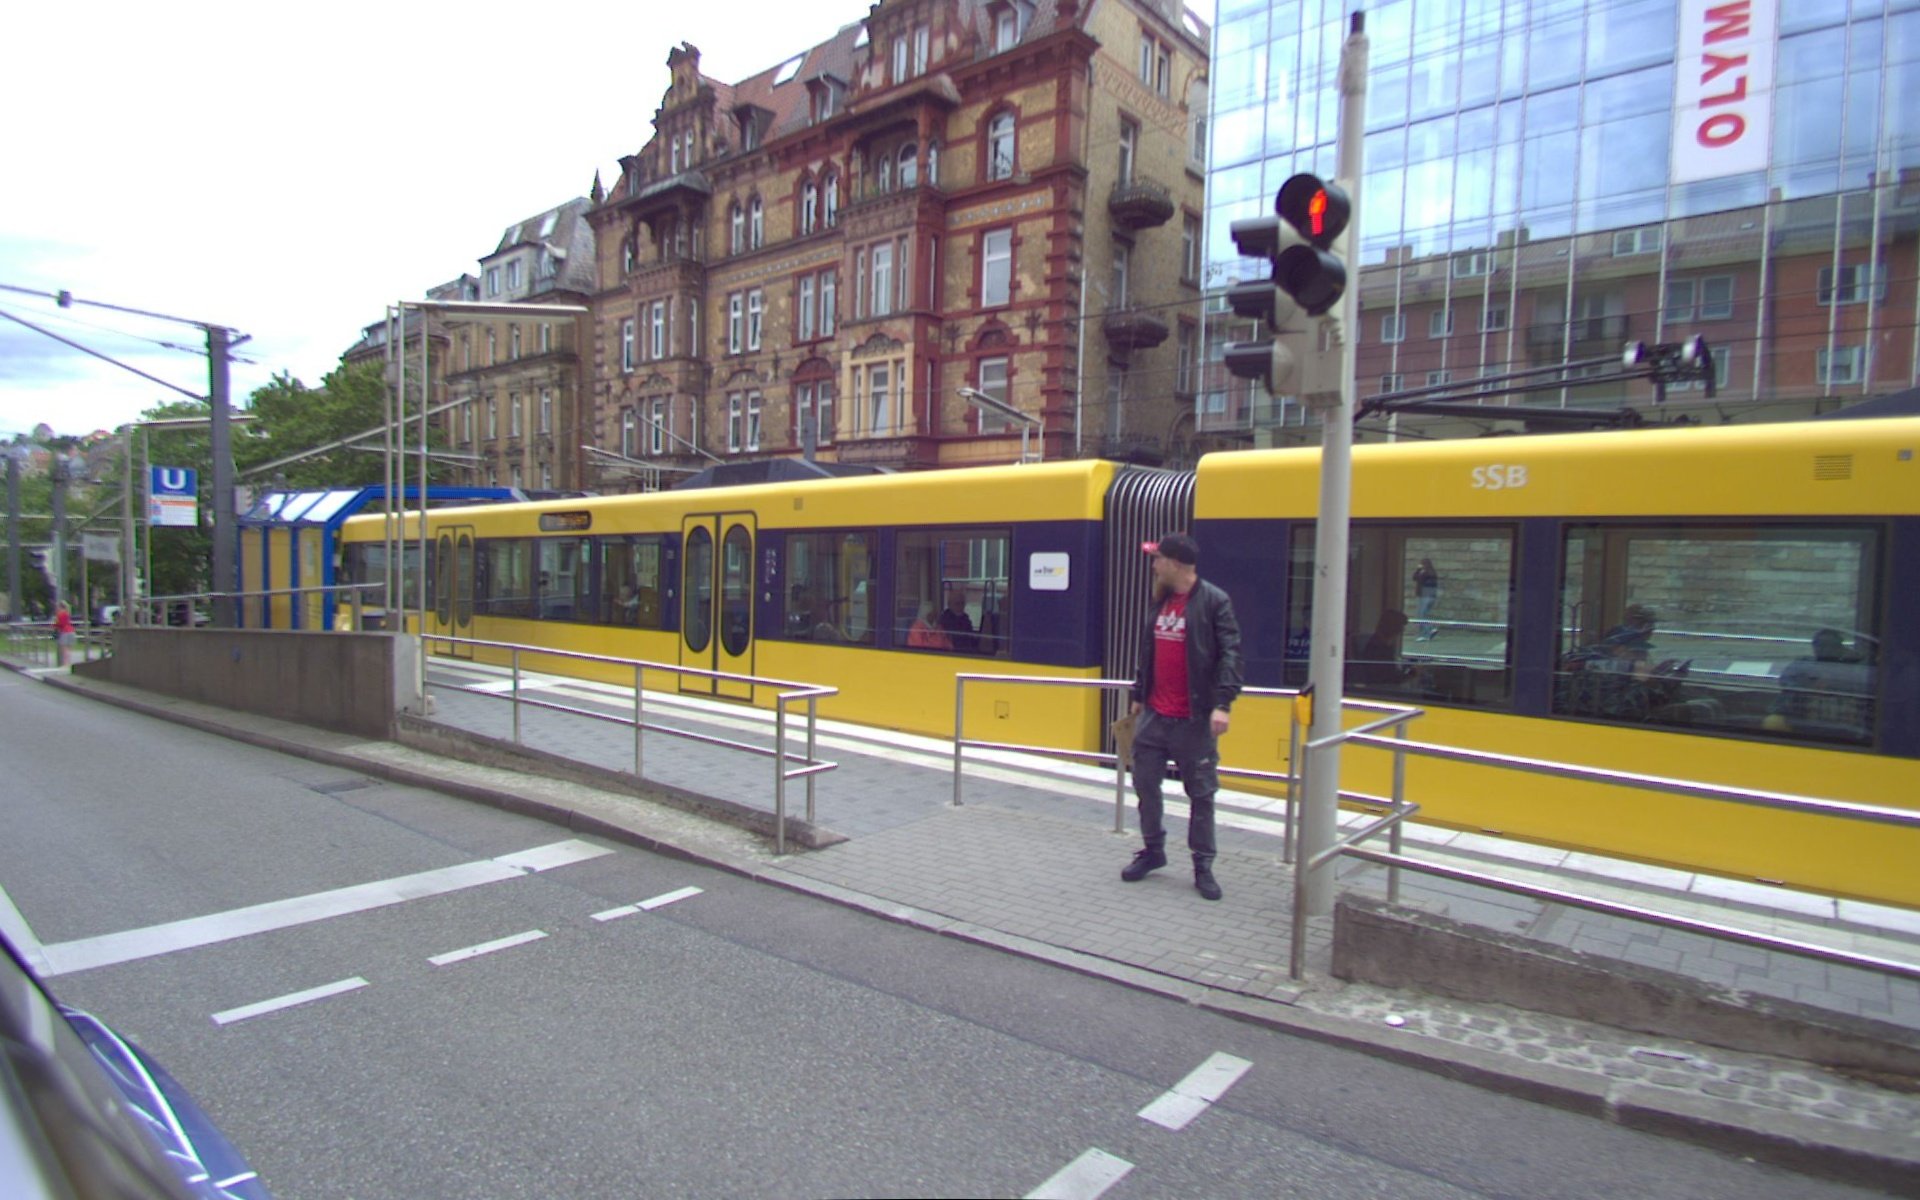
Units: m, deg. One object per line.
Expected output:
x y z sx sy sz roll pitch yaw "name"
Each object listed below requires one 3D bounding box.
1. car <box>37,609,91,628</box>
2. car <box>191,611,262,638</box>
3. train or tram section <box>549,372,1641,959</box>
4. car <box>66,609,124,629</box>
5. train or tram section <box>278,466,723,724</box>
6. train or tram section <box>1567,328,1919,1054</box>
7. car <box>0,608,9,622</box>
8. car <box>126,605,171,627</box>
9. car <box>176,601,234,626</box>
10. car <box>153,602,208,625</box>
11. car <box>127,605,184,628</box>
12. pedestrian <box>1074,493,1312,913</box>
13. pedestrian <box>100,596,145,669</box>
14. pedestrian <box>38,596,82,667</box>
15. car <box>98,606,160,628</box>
-94.035 1.901 106.250 1.775 1.828 3.825 -1 0 25 "car"
-50.711 1.678 70.082 1.764 1.700 3.848 -1 1 9 "car"
-0.087 0.120 11.104 12.212 3.497 2.919 3 3 41 "train or tram section"
-83.144 1.837 97.318 1.775 1.828 3.825 -1 0 25 "car"
-9.374 -0.268 19.191 12.395 3.569 2.918 2 2 42 "train or tram section"
9.099 0.532 2.979 12.211 3.509 2.919 2 2 41 "train or tram section"
-137.106 2.152 143.865 3.991 2.029 1.976 -1 0 35 "car"
-67.099 1.307 83.728 1.754 1.700 3.871 -1 1 -21 "car"
-54.966 0.949 73.740 1.756 1.700 3.866 -1 0 -9 "car"
-60.714 1.015 78.887 1.756 1.700 3.866 -1 0 -9 "car"
-62.927 1.265 79.221 1.756 1.700 3.865 -1 0 -9 "car"
1.132 0.437 4.890 0.802 1.790 0.807 -1 0 41 "pedestrian"
-19.981 0.757 24.145 0.658 1.708 0.616 -1 0 32 "pedestrian"
-21.991 0.766 24.732 0.684 1.693 0.671 -1 1 39 "pedestrian"
-72.497 1.492 88.316 1.770 1.828 3.836 -1 0 18 "car"
